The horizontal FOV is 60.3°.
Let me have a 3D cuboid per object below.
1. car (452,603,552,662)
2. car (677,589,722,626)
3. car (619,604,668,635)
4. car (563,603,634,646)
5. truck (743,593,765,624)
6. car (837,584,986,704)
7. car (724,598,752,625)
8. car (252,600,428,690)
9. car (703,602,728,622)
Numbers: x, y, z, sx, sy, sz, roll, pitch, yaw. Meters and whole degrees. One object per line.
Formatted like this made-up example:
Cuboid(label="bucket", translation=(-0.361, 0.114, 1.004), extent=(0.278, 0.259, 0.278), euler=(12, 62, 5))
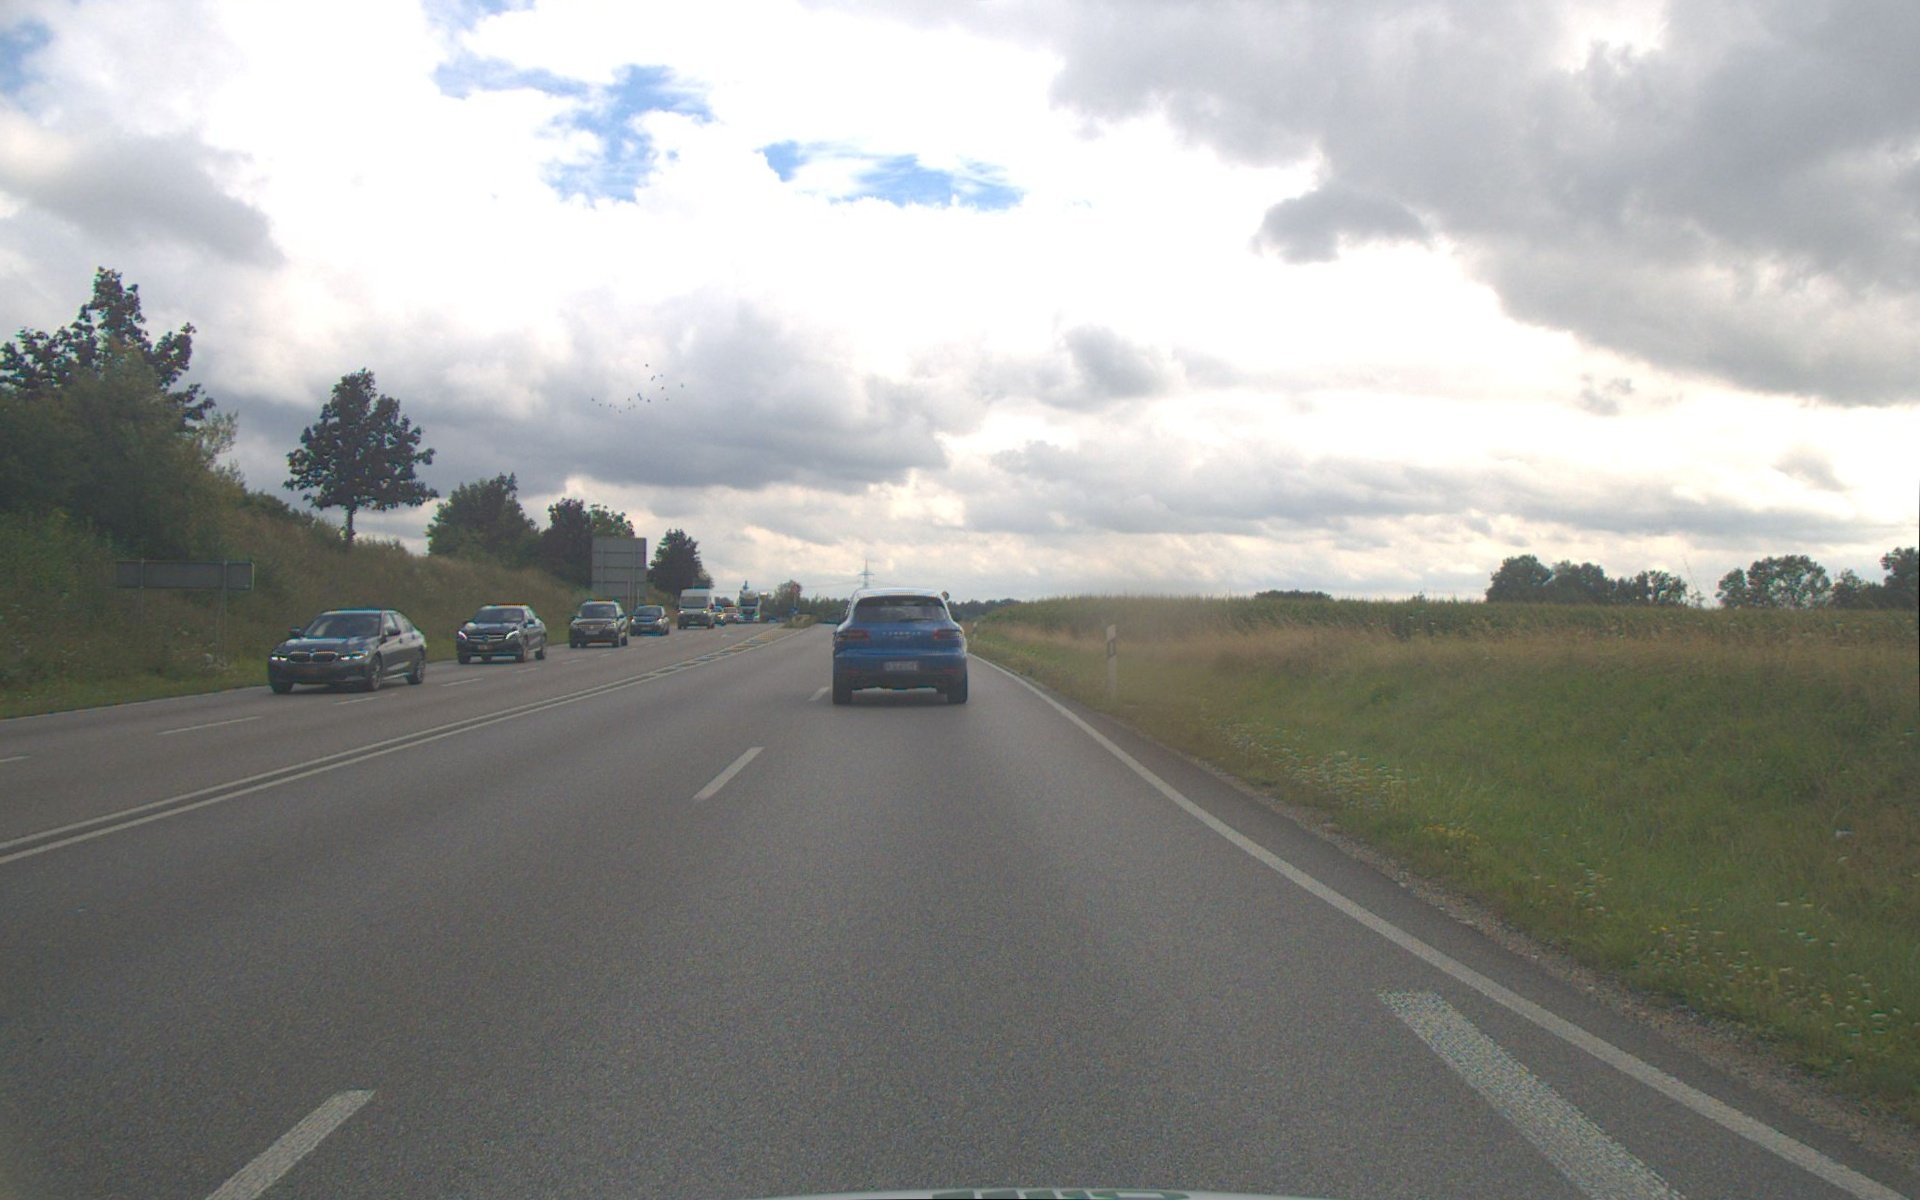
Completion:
Cuboid(label="car", translation=(-12.599, 0.861, 45.693), extent=(1.760, 1.512, 4.166), euler=(-1, 0, -3))
Cuboid(label="car", translation=(-16.464, 0.480, 104.807), extent=(2.317, 2.250, 5.917), euler=(-1, 0, -4))
Cuboid(label="car", translation=(-15.870, 0.967, 83.159), extent=(1.954, 1.517, 3.996), euler=(-1, 0, -5))
Cuboid(label="car", translation=(-13.476, 0.882, 61.889), extent=(1.954, 1.534, 3.998), euler=(0, 0, -3))
Cuboid(label="truck", translation=(-25.627, 0.974, 205.752), extent=(2.519, 3.699, 14.637), euler=(-1, 0, -7))
Cuboid(label="car", translation=(-0.828, 0.606, 24.639), extent=(1.955, 1.598, 4.751), euler=(0, 0, -5))
Cuboid(label="car", translation=(-19.330, 0.963, 144.311), extent=(2.319, 2.250, 5.299), euler=(-1, 0, -7))
Cuboid(label="car", translation=(-11.361, 0.782, 30.601), extent=(1.954, 1.534, 3.997), euler=(0, 0, -4))
Cuboid(label="car", translation=(-18.593, 0.903, 125.817), extent=(1.778, 1.514, 3.994), euler=(-1, 0, -7))
